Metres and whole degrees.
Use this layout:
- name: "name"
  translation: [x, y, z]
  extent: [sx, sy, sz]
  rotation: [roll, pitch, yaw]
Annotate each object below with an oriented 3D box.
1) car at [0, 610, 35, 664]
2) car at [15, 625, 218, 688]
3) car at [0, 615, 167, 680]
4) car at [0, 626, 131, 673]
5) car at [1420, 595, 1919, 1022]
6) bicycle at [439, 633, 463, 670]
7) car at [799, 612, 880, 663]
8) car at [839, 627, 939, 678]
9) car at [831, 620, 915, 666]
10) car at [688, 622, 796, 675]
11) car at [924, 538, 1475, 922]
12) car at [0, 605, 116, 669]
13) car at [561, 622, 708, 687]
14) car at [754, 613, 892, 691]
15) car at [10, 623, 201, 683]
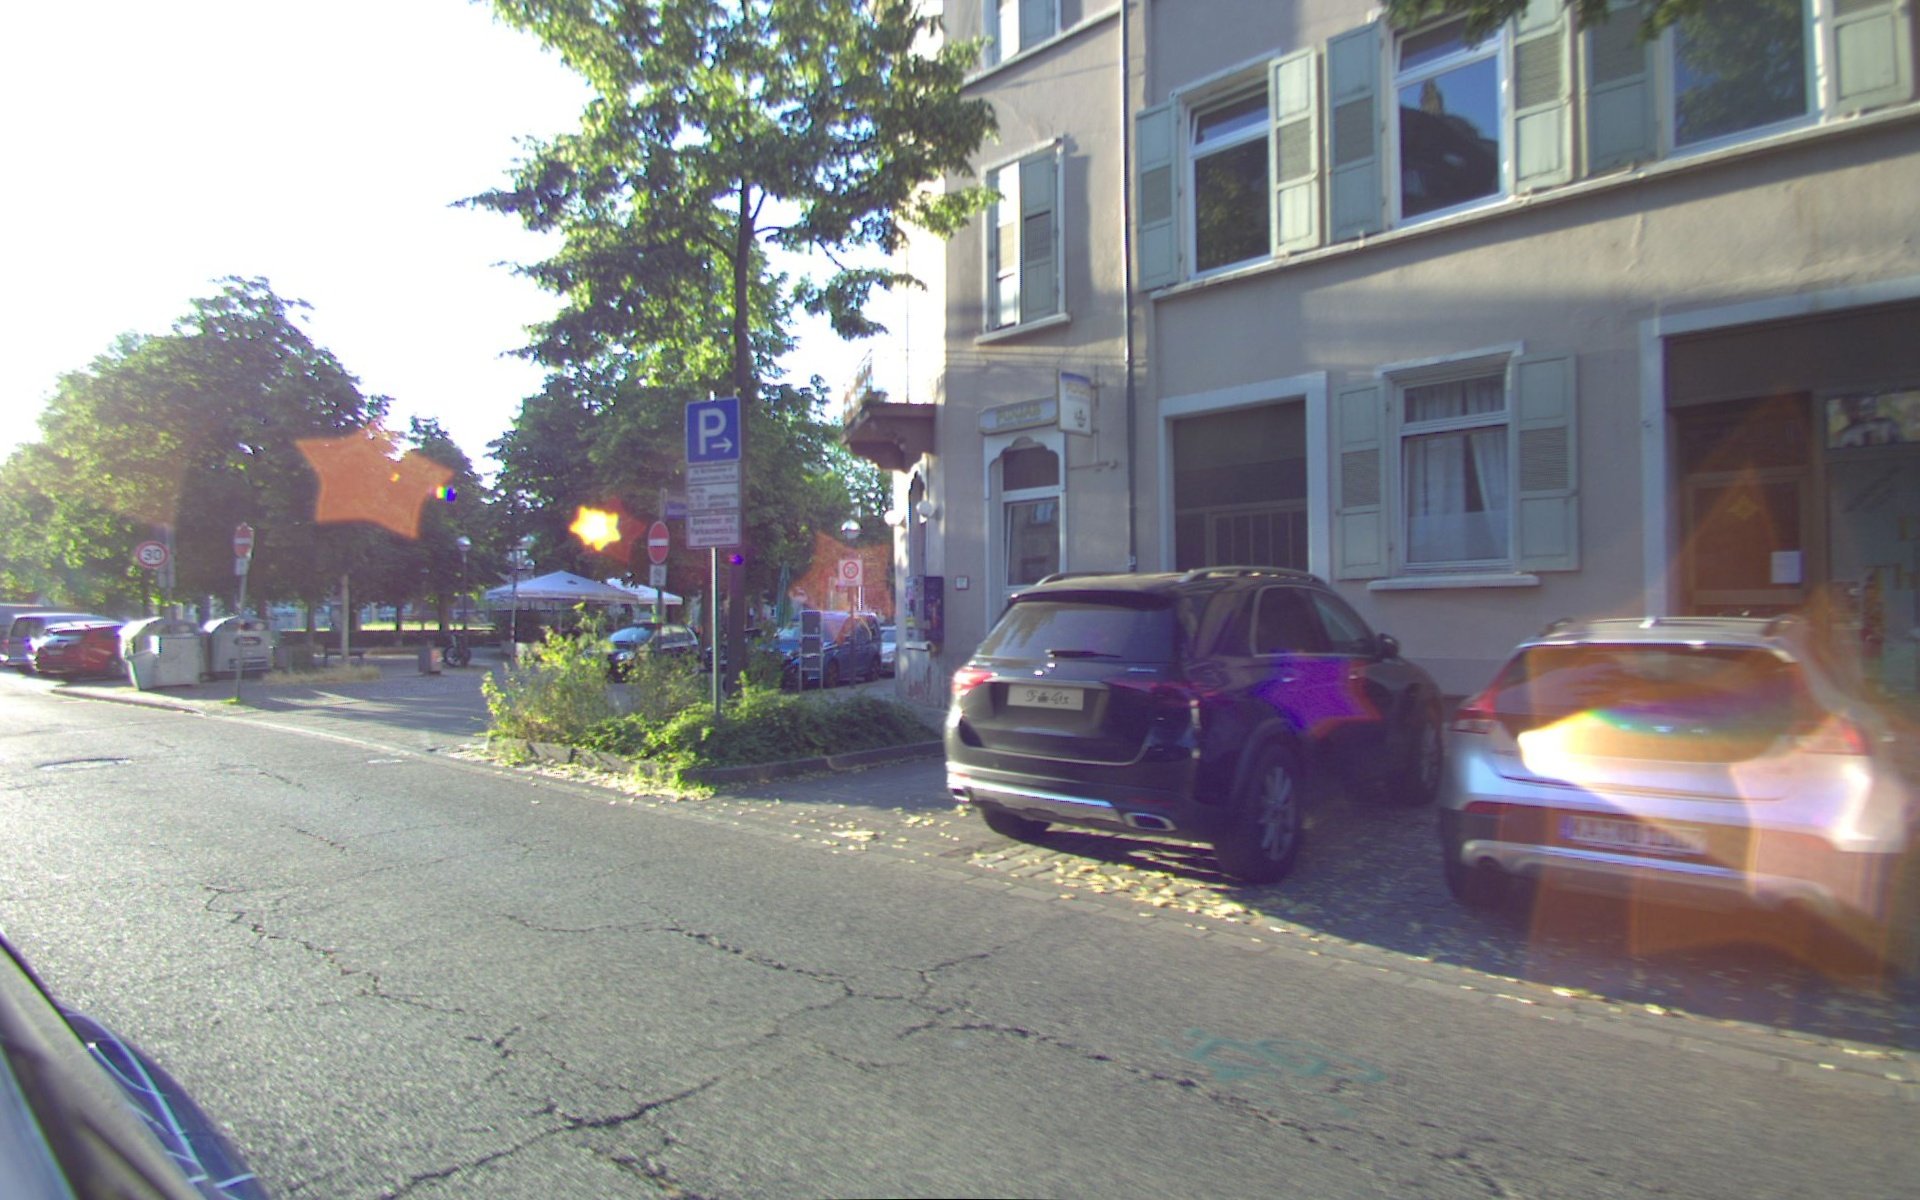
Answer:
- name: "car"
  translation: [-43.200, 1.610, 43.483]
  extent: [2.136, 2.376, 4.755]
  rotation: [-1, -1, 13]
- name: "car"
  translation: [-23.546, 1.529, 28.516]
  extent: [1.790, 1.569, 4.566]
  rotation: [-1, -1, 3]
- name: "car"
  translation: [-28.635, 1.499, 32.961]
  extent: [1.876, 1.948, 4.566]
  rotation: [-1, -1, 3]
- name: "car"
  translation: [-33.919, 1.793, 37.575]
  extent: [2.114, 1.594, 4.553]
  rotation: [-1, -1, 12]
- name: "car"
  translation: [4.040, 0.736, 5.407]
  extent: [1.820, 1.472, 3.775]
  rotation: [-2, -1, 42]
- name: "bicycle"
  translation: [-14.864, 1.500, 29.525]
  extent: [0.573, 1.041, 1.861]
  rotation: [-1, -2, -28]
- name: "car"
  translation: [-4.599, 1.406, 39.148]
  extent: [1.797, 1.856, 3.980]
  rotation: [-1, -1, 15]
- name: "car"
  translation: [-1.986, 1.490, 29.636]
  extent: [1.736, 1.342, 3.980]
  rotation: [-1, -1, 15]
- name: "car"
  translation: [-3.104, 1.520, 36.824]
  extent: [1.797, 1.561, 3.980]
  rotation: [-1, -1, 15]
- name: "car"
  translation: [-6.752, 1.477, 31.722]
  extent: [1.796, 1.519, 3.983]
  rotation: [-1, -1, 13]
- name: "car"
  translation: [1.971, 0.627, 7.097]
  extent: [1.945, 1.796, 4.509]
  rotation: [-1, -1, 40]
- name: "car"
  translation: [-36.350, 1.420, 39.631]
  extent: [2.136, 2.376, 4.755]
  rotation: [-1, -1, 13]
- name: "car"
  translation: [-8.354, 1.365, 26.327]
  extent: [1.797, 1.519, 3.980]
  rotation: [-1, -1, 15]
- name: "car"
  translation: [-3.245, 1.206, 24.835]
  extent: [1.981, 1.741, 3.980]
  rotation: [-1, -1, 15]
- name: "car"
  translation: [-25.989, 1.555, 31.020]
  extent: [1.876, 1.645, 4.566]
  rotation: [-1, -1, 3]
